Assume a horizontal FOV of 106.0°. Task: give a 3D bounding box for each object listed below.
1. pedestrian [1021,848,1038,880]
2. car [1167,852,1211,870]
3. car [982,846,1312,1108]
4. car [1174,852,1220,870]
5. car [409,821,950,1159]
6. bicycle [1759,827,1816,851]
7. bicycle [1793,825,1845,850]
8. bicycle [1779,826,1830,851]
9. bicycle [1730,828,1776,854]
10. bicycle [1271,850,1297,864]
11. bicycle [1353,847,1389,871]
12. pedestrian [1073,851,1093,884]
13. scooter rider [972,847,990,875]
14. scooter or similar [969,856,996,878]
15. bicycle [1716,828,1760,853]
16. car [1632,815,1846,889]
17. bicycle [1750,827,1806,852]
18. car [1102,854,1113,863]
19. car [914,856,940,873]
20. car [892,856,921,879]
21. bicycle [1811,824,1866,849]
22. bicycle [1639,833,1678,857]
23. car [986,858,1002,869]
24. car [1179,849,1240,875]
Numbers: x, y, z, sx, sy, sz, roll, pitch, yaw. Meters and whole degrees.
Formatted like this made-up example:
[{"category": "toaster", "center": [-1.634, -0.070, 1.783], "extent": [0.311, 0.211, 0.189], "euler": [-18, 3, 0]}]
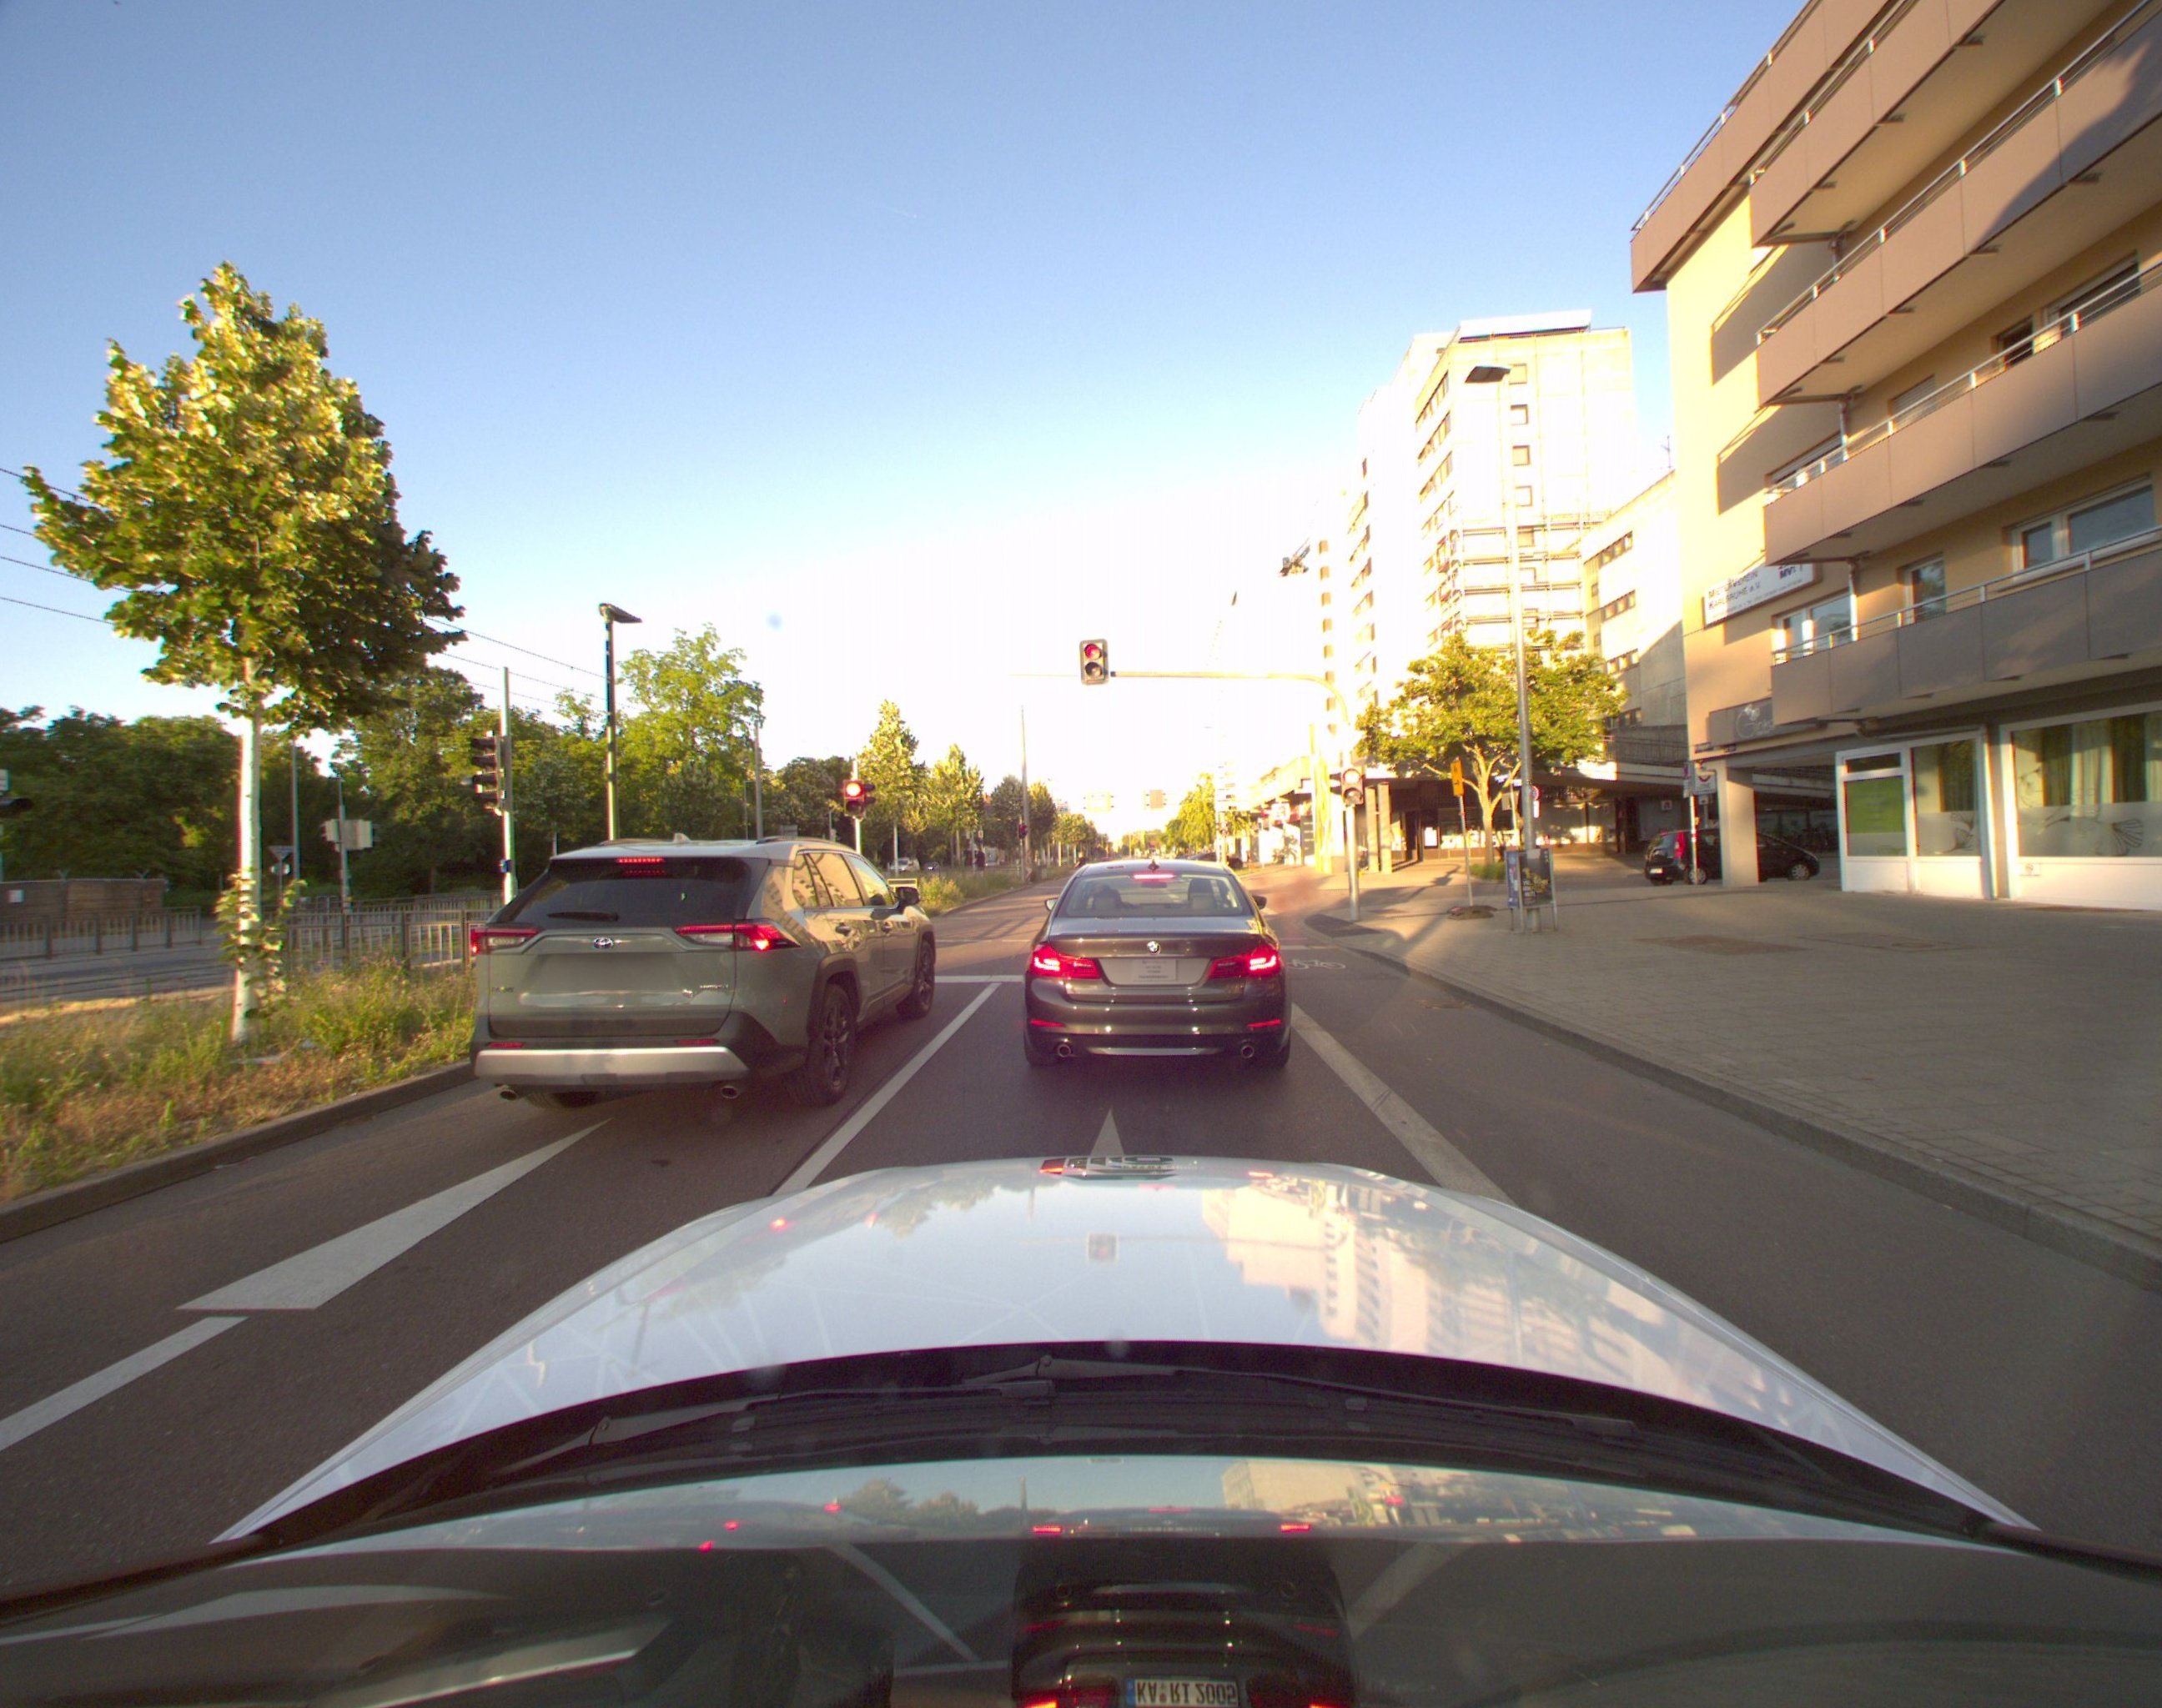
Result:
[{"category": "pedestrian", "center": [-2.833, 0.555, 44.808], "extent": [0.832, 1.712, 0.648], "euler": [-2, -1, 1]}, {"category": "car", "center": [11.328, 0.704, 85.344], "extent": [4.284, 1.658, 1.842], "euler": [-2, 1, -33]}, {"category": "car", "center": [0.620, 0.711, 7.075], "extent": [1.922, 1.481, 4.530], "euler": [-1, 1, 6]}, {"category": "car", "center": [11.312, 0.658, 79.155], "extent": [4.284, 1.658, 1.841], "euler": [-2, 1, -33]}, {"category": "car", "center": [-2.341, 0.643, 6.185], "extent": [1.847, 1.658, 4.270], "euler": [-1, 1, 2]}, {"category": "bicycle", "center": [32.530, -0.678, 37.530], "extent": [0.583, 1.075, 1.963], "euler": [1, -1, -21]}, {"category": "bicycle", "center": [33.686, -0.728, 37.208], "extent": [0.579, 1.075, 1.976], "euler": [1, -1, -1]}, {"category": "bicycle", "center": [33.126, -0.693, 37.309], "extent": [0.579, 1.075, 1.976], "euler": [1, -1, -1]}, {"category": "bicycle", "center": [30.522, -0.579, 37.023], "extent": [0.578, 1.075, 1.980], "euler": [1, -1, 5]}, {"category": "bicycle", "center": [17.185, 0.291, 68.970], "extent": [2.004, 1.149, 0.692], "euler": [1, -1, 8]}, {"category": "bicycle", "center": [14.738, 0.270, 41.389], "extent": [0.690, 1.149, 2.012], "euler": [1, -1, -16]}, {"category": "pedestrian", "center": [0.096, 0.656, 40.599], "extent": [0.831, 1.586, 0.813], "euler": [-2, 0, 6]}, {"category": "scooter rider", "center": [-5.447, 0.390, 44.474], "extent": [0.818, 1.514, 0.653], "euler": [-2, 0, 0]}, {"category": "scooter or similar", "center": [-5.365, 0.692, 44.454], "extent": [1.325, 1.153, 0.513], "euler": [-2, 0, -1]}, {"category": "bicycle", "center": [29.978, -0.596, 37.199], "extent": [0.578, 1.075, 1.980], "euler": [1, -1, 5]}, {"category": "car", "center": [17.313, -0.004, 21.610], "extent": [4.019, 1.585, 1.709], "euler": [-4, -3, 7]}, {"category": "bicycle", "center": [32.053, -0.662, 37.475], "extent": [0.582, 1.075, 1.966], "euler": [1, -1, -16]}, {"category": "car", "center": [4.771, 0.814, 147.394], "extent": [1.971, 1.433, 4.846], "euler": [-1, 1, 3]}, {"category": "car", "center": [-17.943, 1.222, 95.252], "extent": [1.986, 1.744, 4.752], "euler": [-1, 1, 1]}, {"category": "car", "center": [-17.440, 1.310, 81.501], "extent": [1.989, 2.168, 4.746], "euler": [-1, 1, -3]}, {"category": "bicycle", "center": [34.272, -0.777, 36.880], "extent": [0.579, 1.075, 1.974], "euler": [1, -1, -4]}, {"category": "bicycle", "center": [27.218, -0.421, 38.392], "extent": [0.578, 1.075, 1.980], "euler": [1, -1, 5]}, {"category": "car", "center": [-13.451, 1.451, 126.587], "extent": [1.792, 1.481, 3.786], "euler": [-2, 0, 3]}, {"category": "car", "center": [8.969, 0.522, 56.864], "extent": [4.290, 1.658, 1.839], "euler": [-2, 1, -40]}]
